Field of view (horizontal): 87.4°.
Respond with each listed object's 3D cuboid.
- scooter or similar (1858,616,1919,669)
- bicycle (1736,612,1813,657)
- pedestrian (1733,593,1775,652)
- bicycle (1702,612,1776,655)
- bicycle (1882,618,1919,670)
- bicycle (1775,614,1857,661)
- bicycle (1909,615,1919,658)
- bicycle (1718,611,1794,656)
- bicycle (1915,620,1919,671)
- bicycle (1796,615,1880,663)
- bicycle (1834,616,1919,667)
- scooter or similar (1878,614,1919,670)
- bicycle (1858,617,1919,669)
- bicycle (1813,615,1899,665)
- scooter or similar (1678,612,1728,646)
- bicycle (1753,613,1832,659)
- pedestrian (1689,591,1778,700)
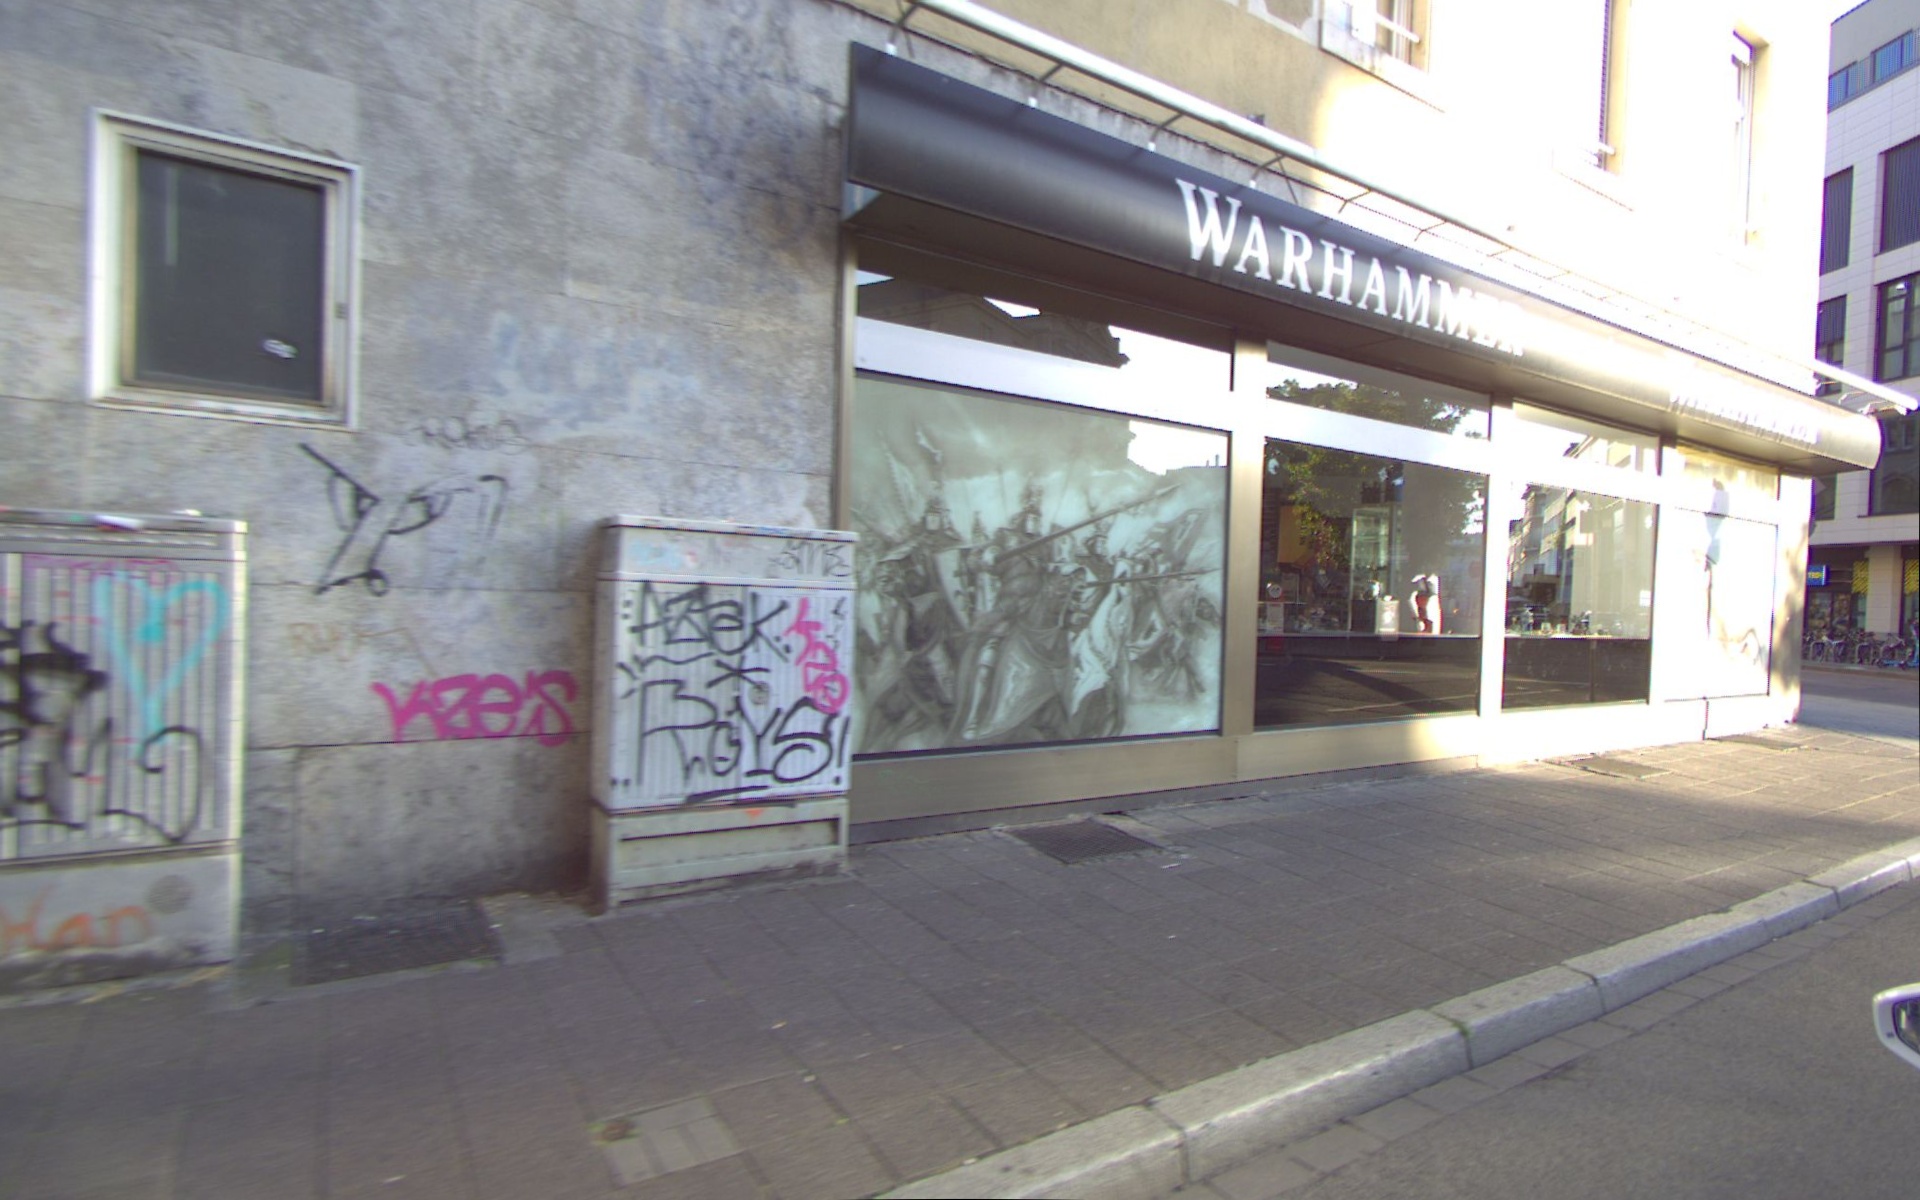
[{"bbox_3d":[22.734,1.035,24.514,1.246,1.228,0.387,3,1,-3],"label":"scooter or similar"},{"bbox_3d":[24.842,1.054,30.642,1.941,1.271,0.513,3,1,-3],"label":"bicycle"},{"bbox_3d":[23.861,0.656,30.189,0.671,1.718,0.644,2,1,1],"label":"pedestrian"},{"bbox_3d":[24.875,1.075,32.082,1.941,1.271,0.513,3,1,-3],"label":"bicycle"},{"bbox_3d":[24.976,1.159,25.929,1.941,1.271,0.513,3,1,-5],"label":"bicycle"},{"bbox_3d":[24.970,1.088,29.303,1.941,1.271,0.513,3,1,-3],"label":"bicycle"},{"bbox_3d":[28.934,1.123,29.252,0.601,1.271,1.978,2,1,-2],"label":"bicycle"},{"bbox_3d":[24.776,1.038,31.270,1.941,1.271,0.513,3,1,-3],"label":"bicycle"},{"bbox_3d":[25.070,1.181,25.096,1.941,1.271,0.513,3,1,-3],"label":"bicycle"},{"bbox_3d":[25.018,1.105,28.621,1.941,1.271,0.513,3,1,-3],"label":"bicycle"},{"bbox_3d":[24.984,1.130,27.346,1.941,1.271,0.513,3,1,-3],"label":"bicycle"},{"bbox_3d":[22.694,1.012,23.925,1.246,1.277,0.387,3,1,-3],"label":"scooter or similar"},{"bbox_3d":[24.941,1.144,26.559,1.941,1.271,0.513,3,1,-3],"label":"bicycle"},{"bbox_3d":[24.918,1.114,27.950,1.941,1.271,0.513,3,1,-3],"label":"bicycle"},{"bbox_3d":[23.135,0.902,31.293,1.246,1.005,0.387,3,1,-3],"label":"scooter or similar"},{"bbox_3d":[24.885,1.069,30.042,1.941,1.271,0.513,3,1,-3],"label":"bicycle"},{"bbox_3d":[11.975,0.693,15.557,0.793,1.634,0.731,2,1,-22],"label":"pedestrian"}]
